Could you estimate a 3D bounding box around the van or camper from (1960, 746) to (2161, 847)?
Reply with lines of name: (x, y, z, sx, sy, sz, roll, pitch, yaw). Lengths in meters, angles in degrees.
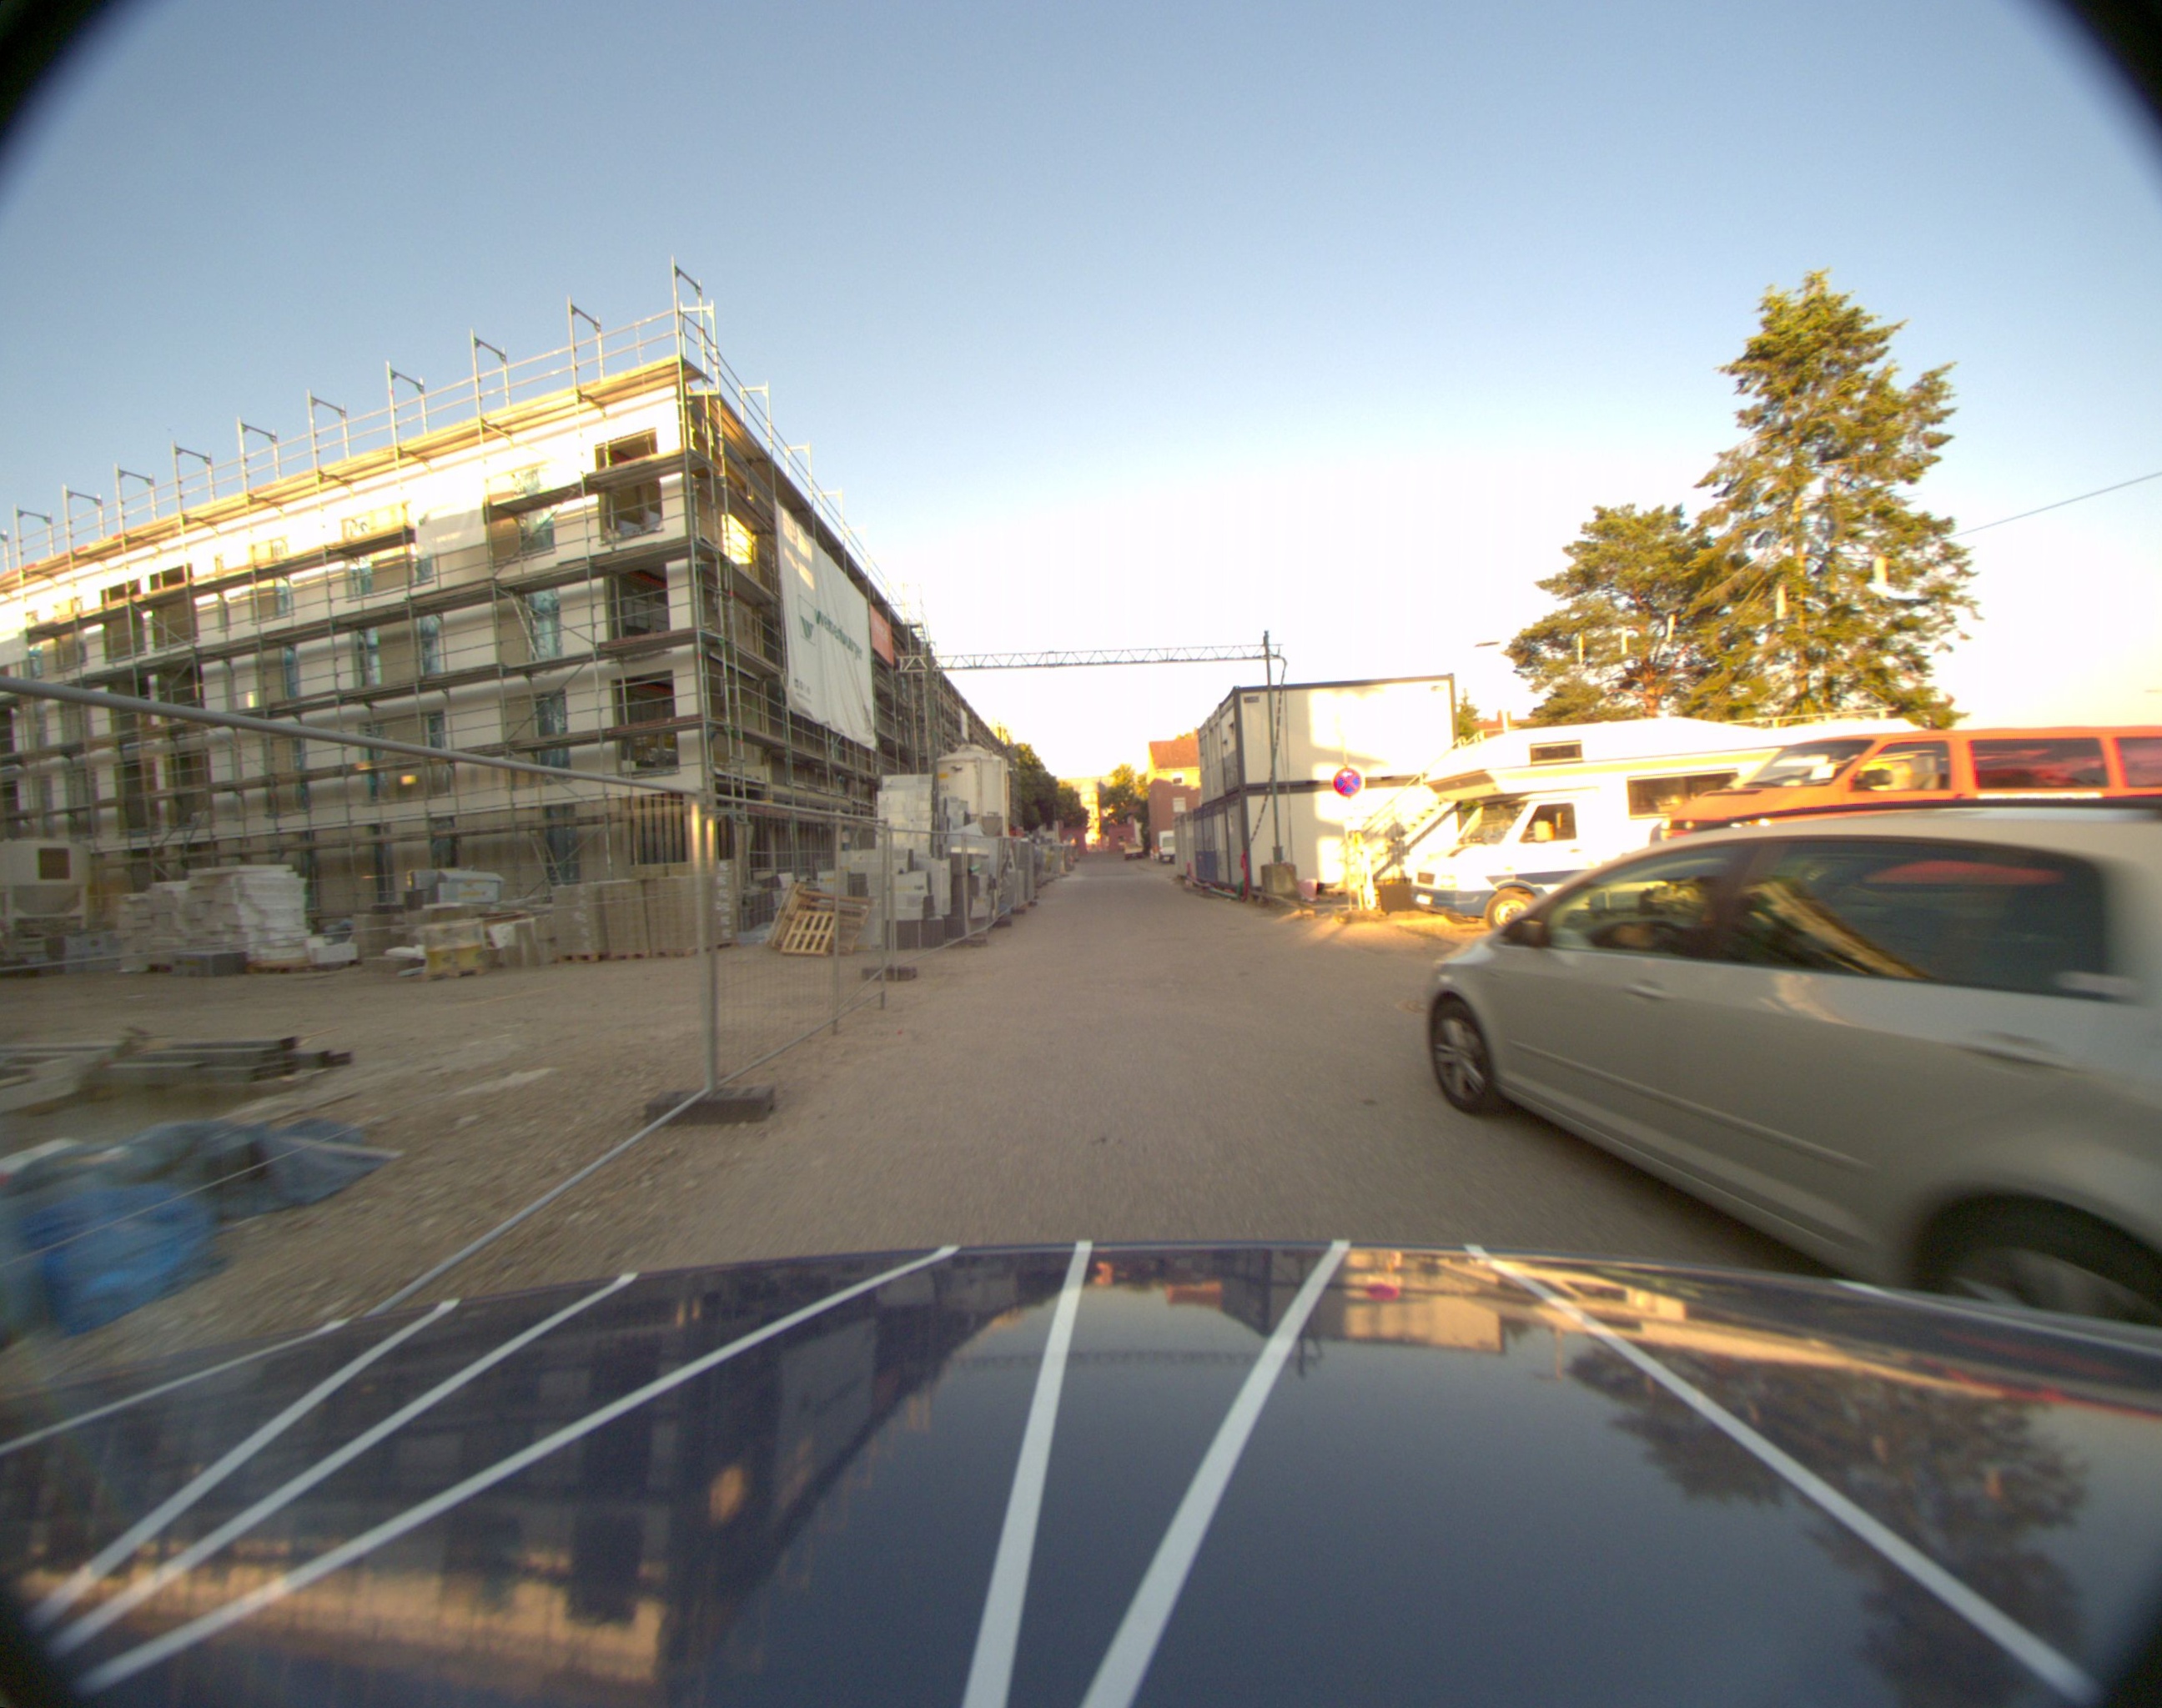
van or camper: (30.446, -1.660, 22.916, 2.206, 2.692, 5.753, -3, 1, 15)

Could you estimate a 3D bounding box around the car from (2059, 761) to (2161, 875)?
car: (21.009, -0.730, 13.429, 1.846, 2.136, 4.827, -3, -2, 13)

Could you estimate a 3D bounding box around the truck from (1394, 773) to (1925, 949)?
truck: (8.271, 0.108, 11.512, 6.025, 2.031, 2.356, -4, 1, 5)

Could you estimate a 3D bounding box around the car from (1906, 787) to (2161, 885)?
car: (18.461, -0.299, 14.015, 1.846, 1.558, 4.827, -3, -2, 11)

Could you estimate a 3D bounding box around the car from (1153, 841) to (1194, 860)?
car: (8.781, -0.337, 72.270, 3.725, 1.507, 1.809, -5, 1, 4)

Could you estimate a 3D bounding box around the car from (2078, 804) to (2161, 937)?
car: (13.293, 0.173, 7.533, 1.847, 1.514, 3.940, -3, 1, 7)

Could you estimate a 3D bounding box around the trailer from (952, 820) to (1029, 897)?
trailer: (-3.713, 0.158, 32.535, 2.581, 2.895, 6.236, -2, 1, -1)

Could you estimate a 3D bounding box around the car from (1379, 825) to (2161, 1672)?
car: (2.901, 0.751, 2.926, 1.675, 1.610, 4.284, -4, 1, -1)

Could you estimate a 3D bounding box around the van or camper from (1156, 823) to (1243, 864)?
van or camper: (9.311, -0.825, 60.228, 6.469, 2.625, 2.407, -5, 1, 3)

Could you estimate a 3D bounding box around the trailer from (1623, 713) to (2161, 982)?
trailer: (9.388, -0.102, 8.569, 4.801, 2.419, 2.134, -4, 2, 9)

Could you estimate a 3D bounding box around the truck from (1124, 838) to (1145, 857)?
truck: (6.382, -0.776, 91.177, 1.842, 2.089, 3.738, -5, 1, -5)
